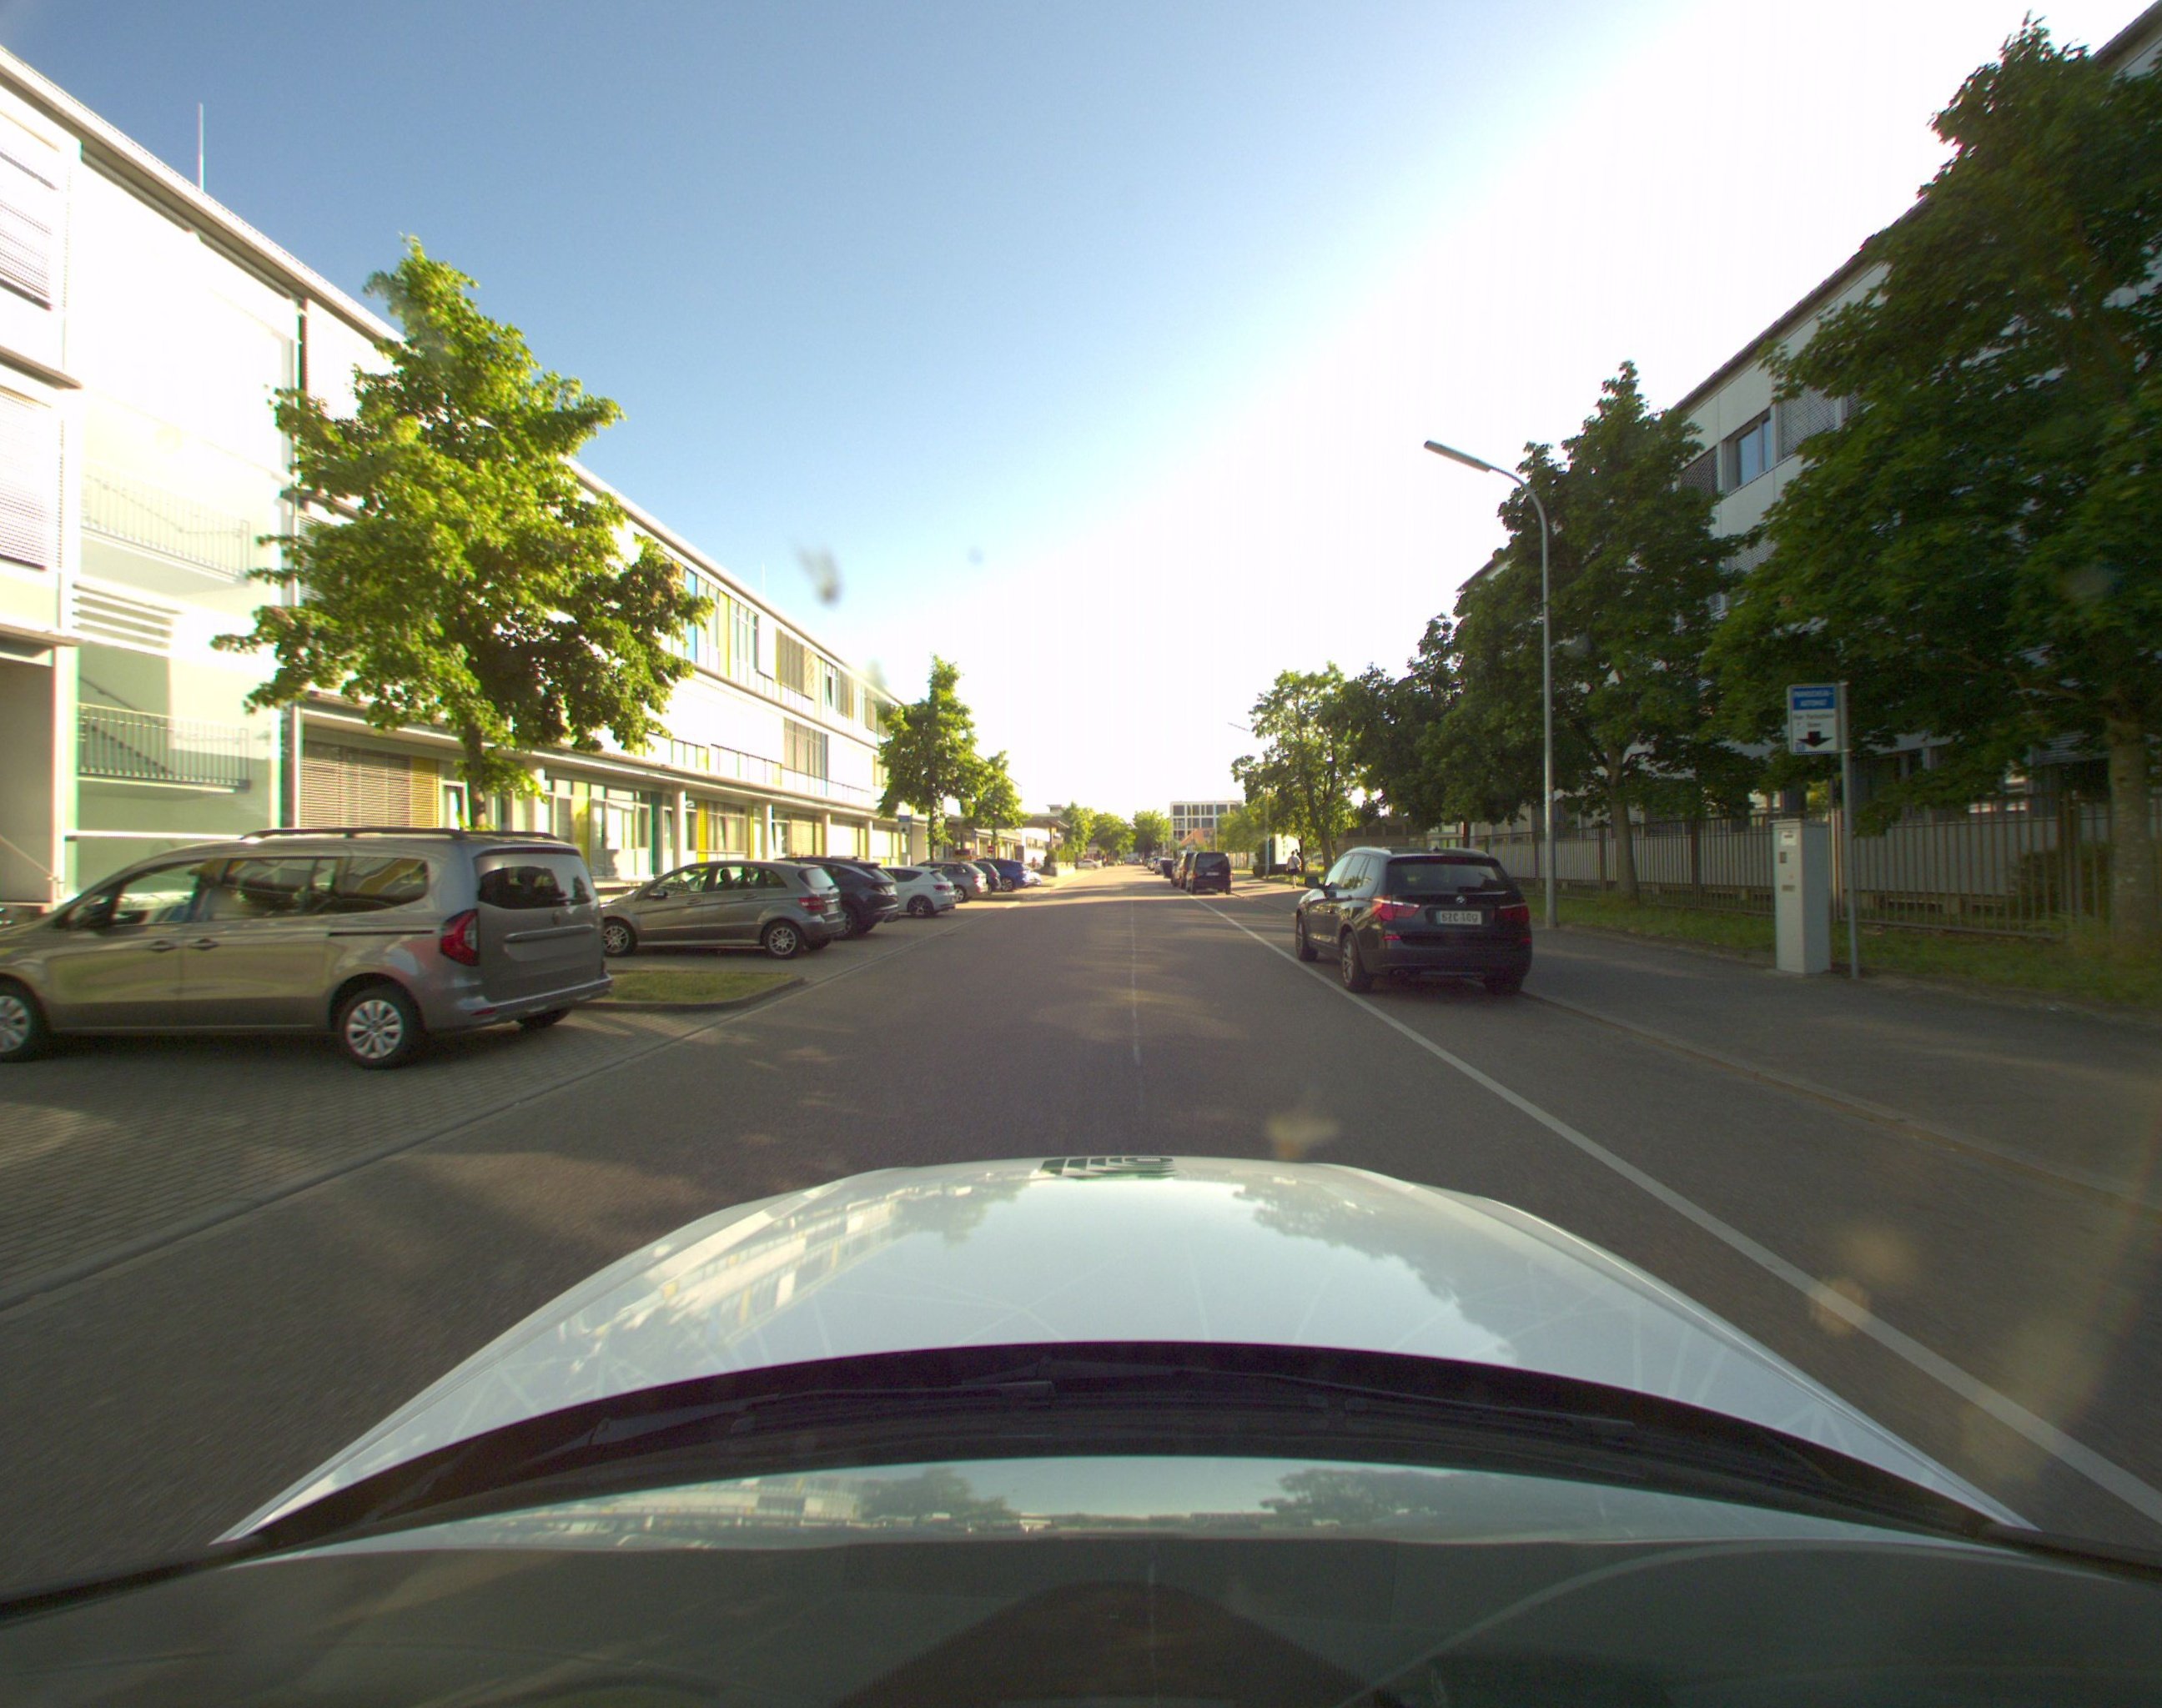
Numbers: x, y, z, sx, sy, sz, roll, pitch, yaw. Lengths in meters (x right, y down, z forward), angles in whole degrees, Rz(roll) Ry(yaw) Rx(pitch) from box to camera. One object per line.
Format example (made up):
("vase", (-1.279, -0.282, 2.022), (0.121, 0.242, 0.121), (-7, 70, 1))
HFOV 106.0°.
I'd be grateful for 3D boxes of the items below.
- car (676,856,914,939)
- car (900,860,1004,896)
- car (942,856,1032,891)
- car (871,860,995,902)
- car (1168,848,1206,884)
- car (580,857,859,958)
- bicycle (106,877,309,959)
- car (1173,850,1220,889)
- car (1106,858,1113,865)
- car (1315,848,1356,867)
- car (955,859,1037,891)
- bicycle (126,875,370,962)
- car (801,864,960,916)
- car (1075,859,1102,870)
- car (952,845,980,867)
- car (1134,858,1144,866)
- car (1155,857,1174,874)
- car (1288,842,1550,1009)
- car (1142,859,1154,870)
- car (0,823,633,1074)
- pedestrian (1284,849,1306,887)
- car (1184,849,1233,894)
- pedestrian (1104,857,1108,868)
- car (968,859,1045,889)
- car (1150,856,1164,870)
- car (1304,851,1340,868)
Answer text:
("car", (-5.859, 0.869, 17.105), (4.233, 1.612, 2.047), (1, 0, -1))
("car", (-5.522, 1.033, 35.349), (4.201, 1.486, 1.871), (1, 0, -1))
("car", (-4.557, 0.943, 39.901), (4.201, 1.603, 1.871), (1, 0, -1))
("car", (-5.372, 0.957, 29.921), (4.201, 1.462, 1.871), (1, 0, -1))
("car", (6.212, 0.664, 47.951), (1.867, 1.978, 4.003), (-2, 0, 3))
("car", (-6.113, 0.880, 14.156), (3.975, 1.607, 1.871), (1, 0, -1))
("bicycle", (-13.775, 0.961, 12.946), (0.863, 1.153, 1.999), (1, -1, 13))
("car", (5.878, 0.750, 41.707), (1.985, 1.823, 4.202), (-2, 0, 3))
("car", (6.604, 1.658, 189.664), (1.720, 1.536, 4.002), (-1, 0, 2))
("car", (29.001, 0.431, 92.878), (3.976, 2.014, 1.999), (-1, -2, -2))
("car", (-4.350, 1.070, 42.329), (3.973, 1.552, 2.000), (-2, -1, 0))
("bicycle", (-12.441, 0.912, 12.295), (0.861, 1.153, 2.386), (0, -1, 24))
("car", (-5.487, 0.981, 22.673), (3.975, 1.358, 1.742), (1, 0, -1))
("car", (1.200, 1.609, 123.438), (3.970, 1.519, 2.002), (-1, -2, 3))
("car", (-11.122, 0.186, 79.086), (1.985, 2.014, 4.003), (-1, -2, 3))
("car", (12.320, 1.714, 173.730), (1.733, 1.543, 4.011), (0, 0, 10))
("car", (7.660, 0.997, 75.010), (1.490, 1.479, 3.653), (-2, 0, 3))
("car", (3.995, 0.694, 10.532), (1.804, 1.666, 4.598), (0, 1, 4))
("car", (12.199, 1.925, 148.159), (1.985, 2.014, 4.003), (-1, -2, 3))
("car", (-6.828, 0.717, 7.191), (4.722, 1.865, 1.829), (1, -1, 3))
("pedestrian", (9.501, 0.619, 36.227), (0.695, 1.661, 0.752), (-4, -1, 3))
("car", (5.500, 0.723, 35.471), (1.725, 1.830, 3.909), (-1, 0, 4))
("pedestrian", (3.729, 1.316, 121.224), (0.616, 1.624, 0.716), (-2, -1, 3))
("car", (-4.057, 1.066, 44.829), (3.973, 1.552, 2.000), (-1, 0, 0))
("car", (8.994, 1.064, 96.546), (1.430, 1.560, 3.044), (-1, 0, 3))
("car", (30.347, 0.681, 102.610), (3.973, 2.014, 2.000), (-1, -2, 1))
